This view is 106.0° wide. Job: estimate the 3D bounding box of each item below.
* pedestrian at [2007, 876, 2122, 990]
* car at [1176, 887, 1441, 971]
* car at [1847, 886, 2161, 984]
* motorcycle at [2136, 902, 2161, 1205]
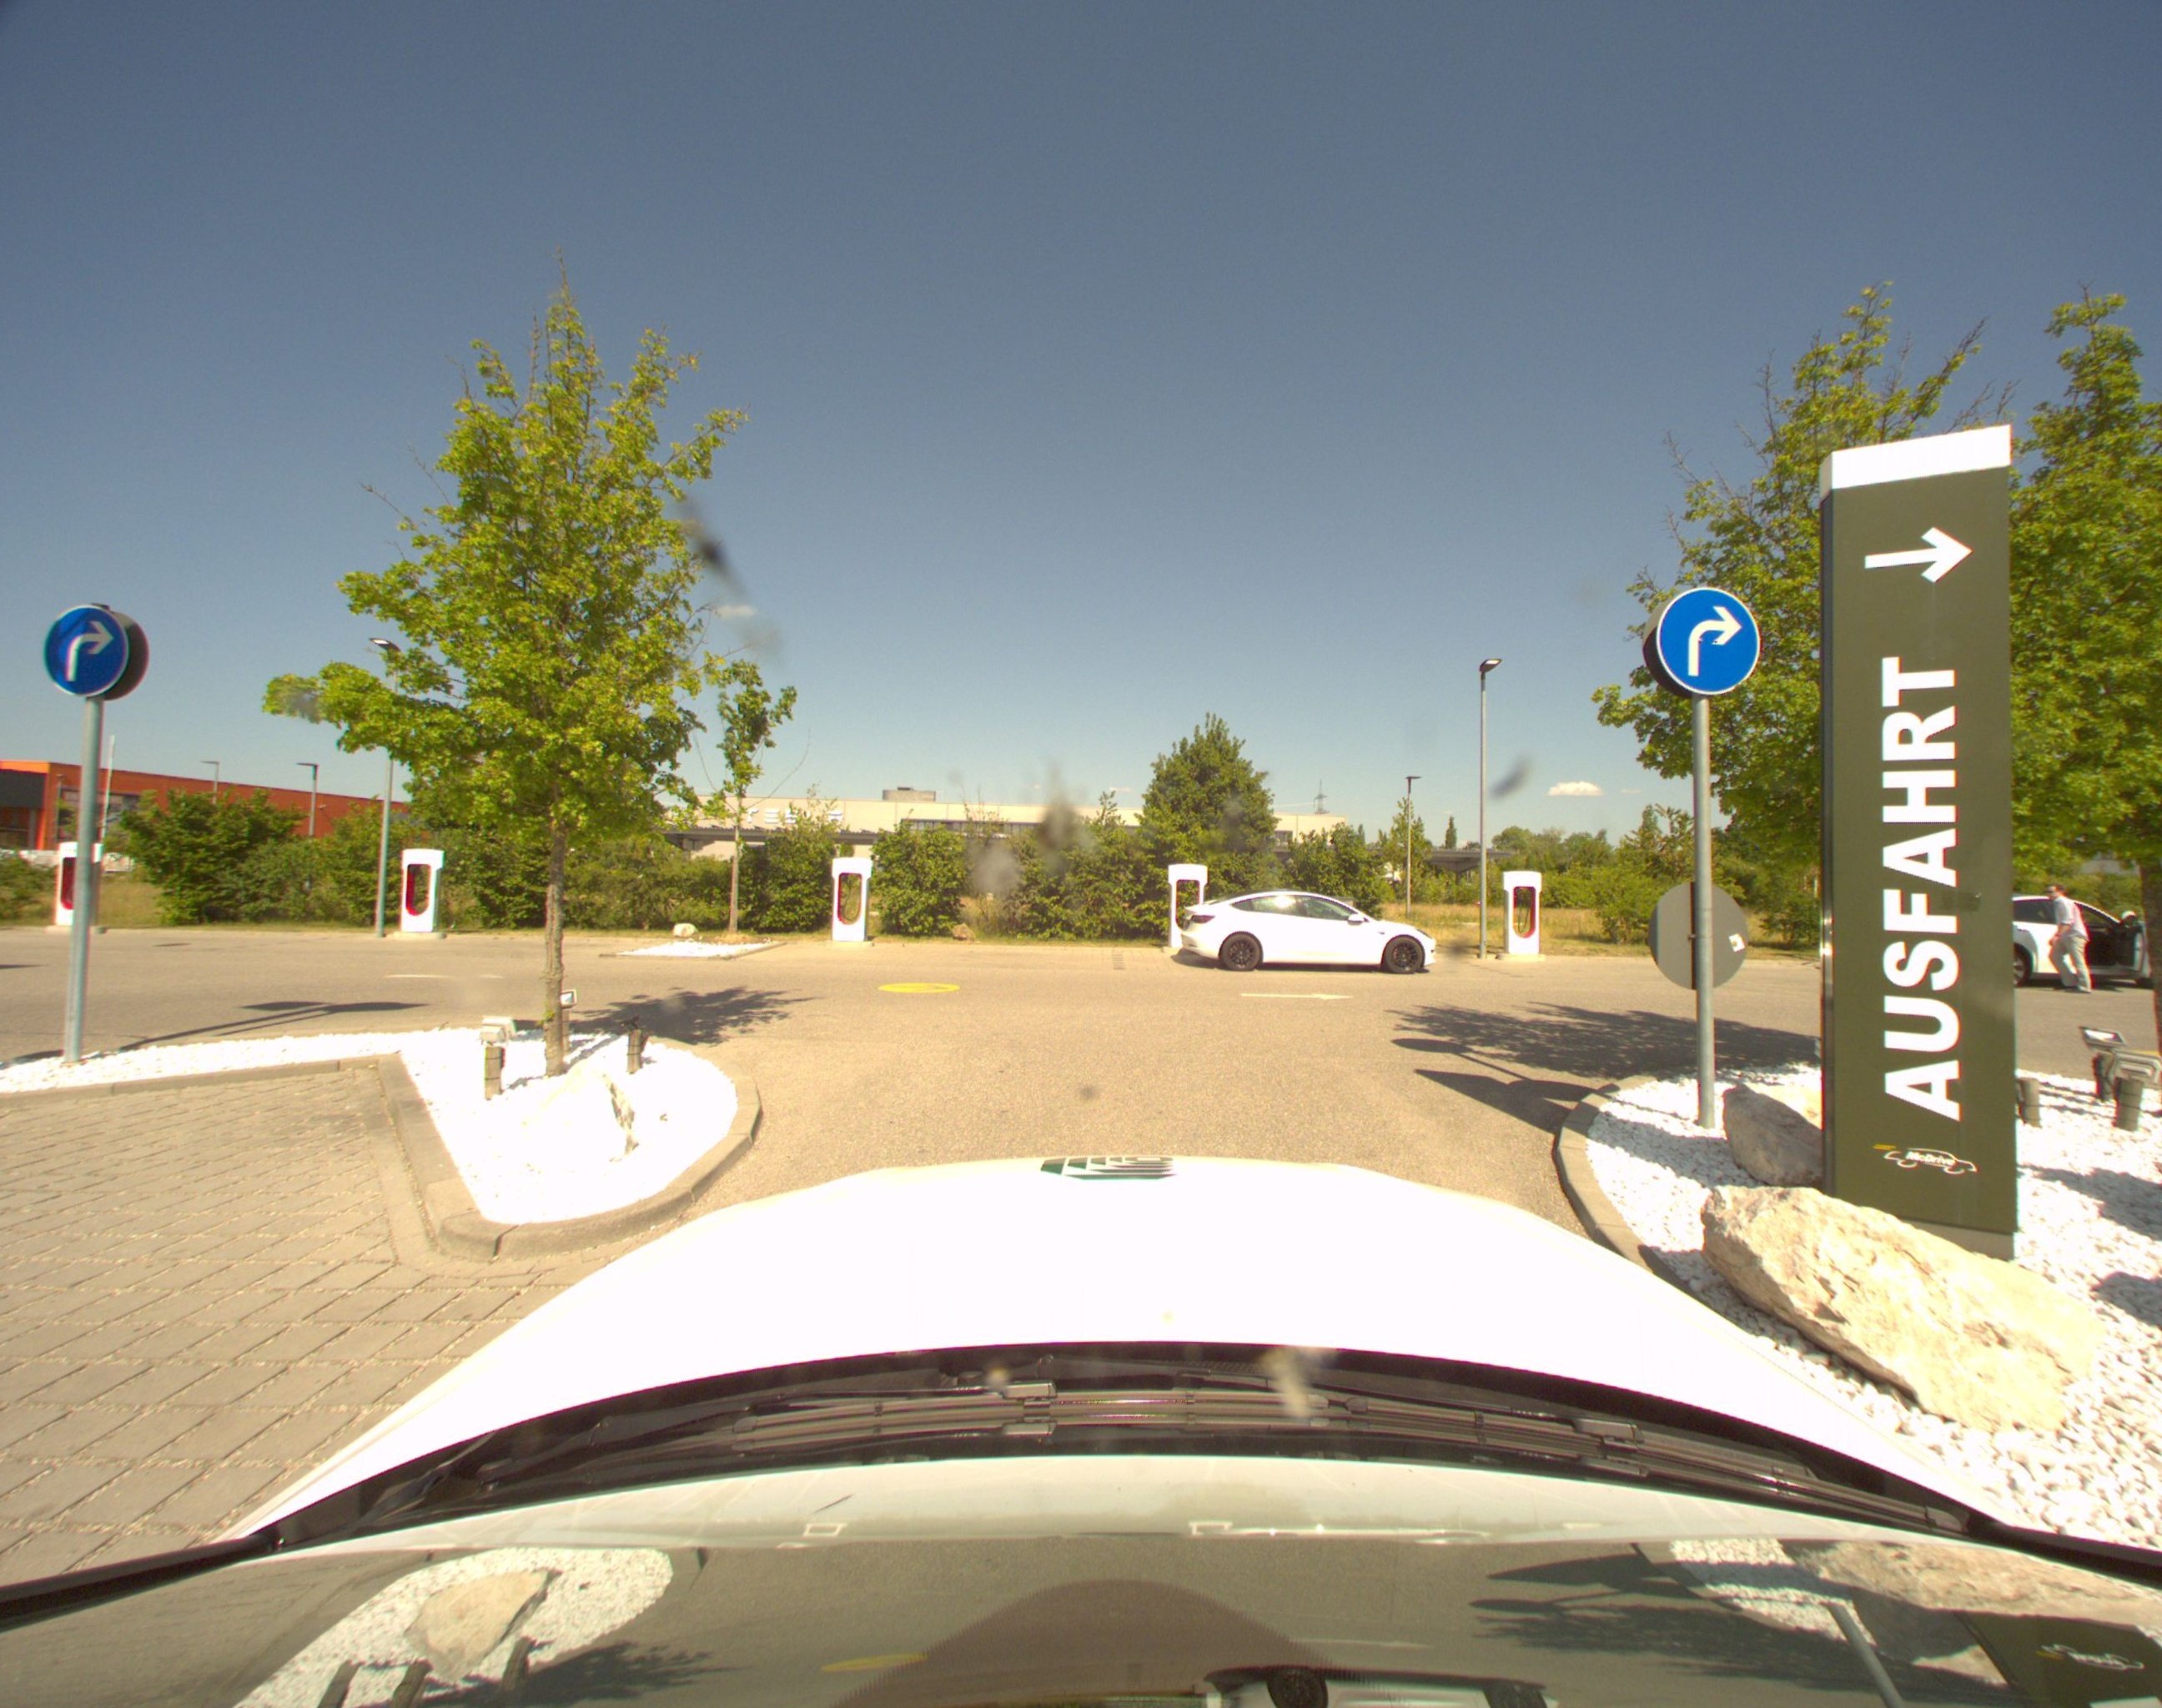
[{"bbox_3d":[16.309,1.284,13.525,1.028,1.800,0.737,1,-1,1],"label":"pedestrian"},{"bbox_3d":[4.089,1.349,15.107,4.421,1.378,1.821,1,-2,-1],"label":"car"},{"bbox_3d":[17.029,1.428,14.837,4.461,1.600,1.869,1,-2,-1],"label":"car"},{"bbox_3d":[4.403,0.847,2.481,1.057,1.251,2.266,1,0,42],"label":"motorcycle"}]
